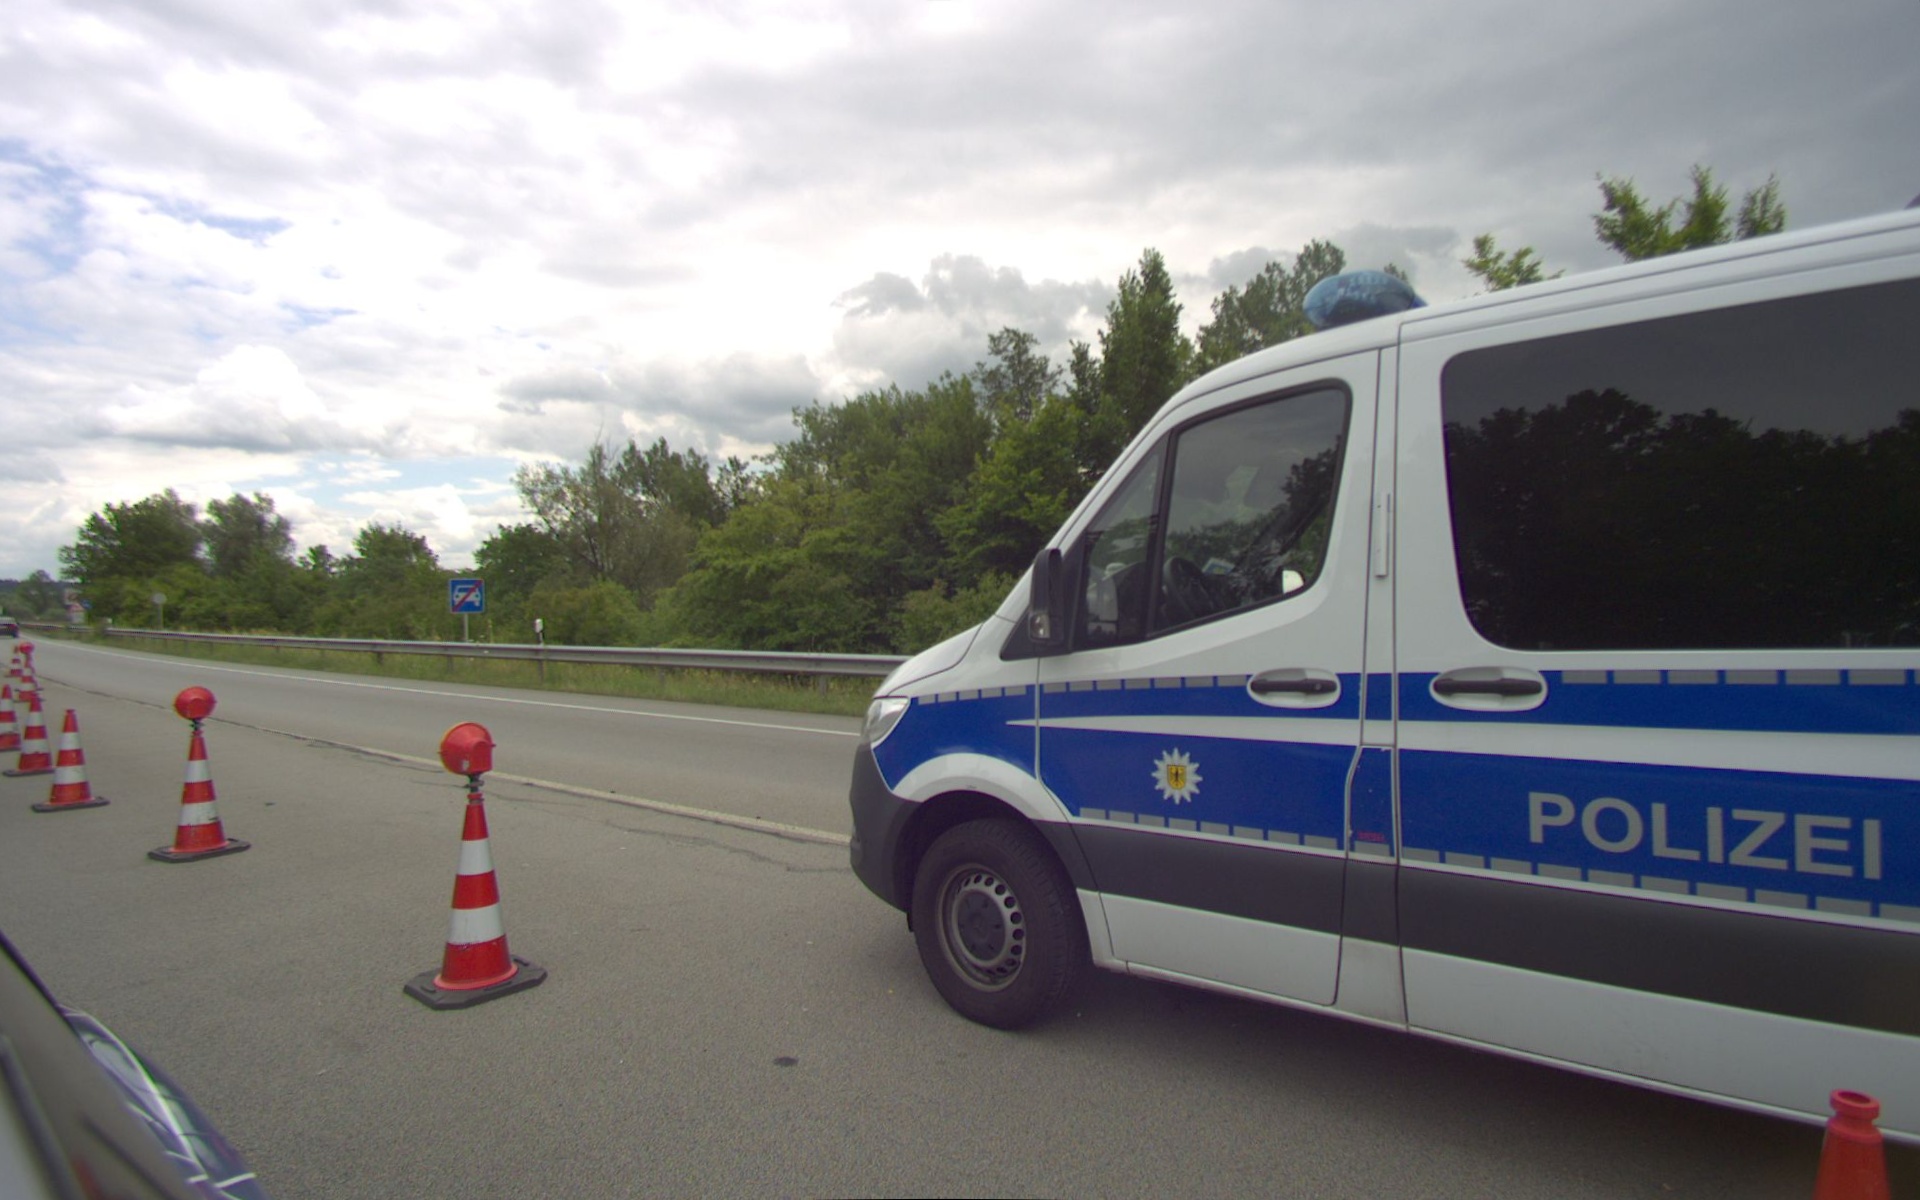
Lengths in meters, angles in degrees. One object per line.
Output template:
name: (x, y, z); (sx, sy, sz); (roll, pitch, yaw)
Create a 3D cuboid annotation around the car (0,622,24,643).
car: (-66.240, 2.234, 70.224); (4.338, 1.447, 1.689); (-1, -1, 44)

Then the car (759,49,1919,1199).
car: (1.874, 0.180, 3.247); (5.272, 2.482, 2.009); (-1, -1, 38)
